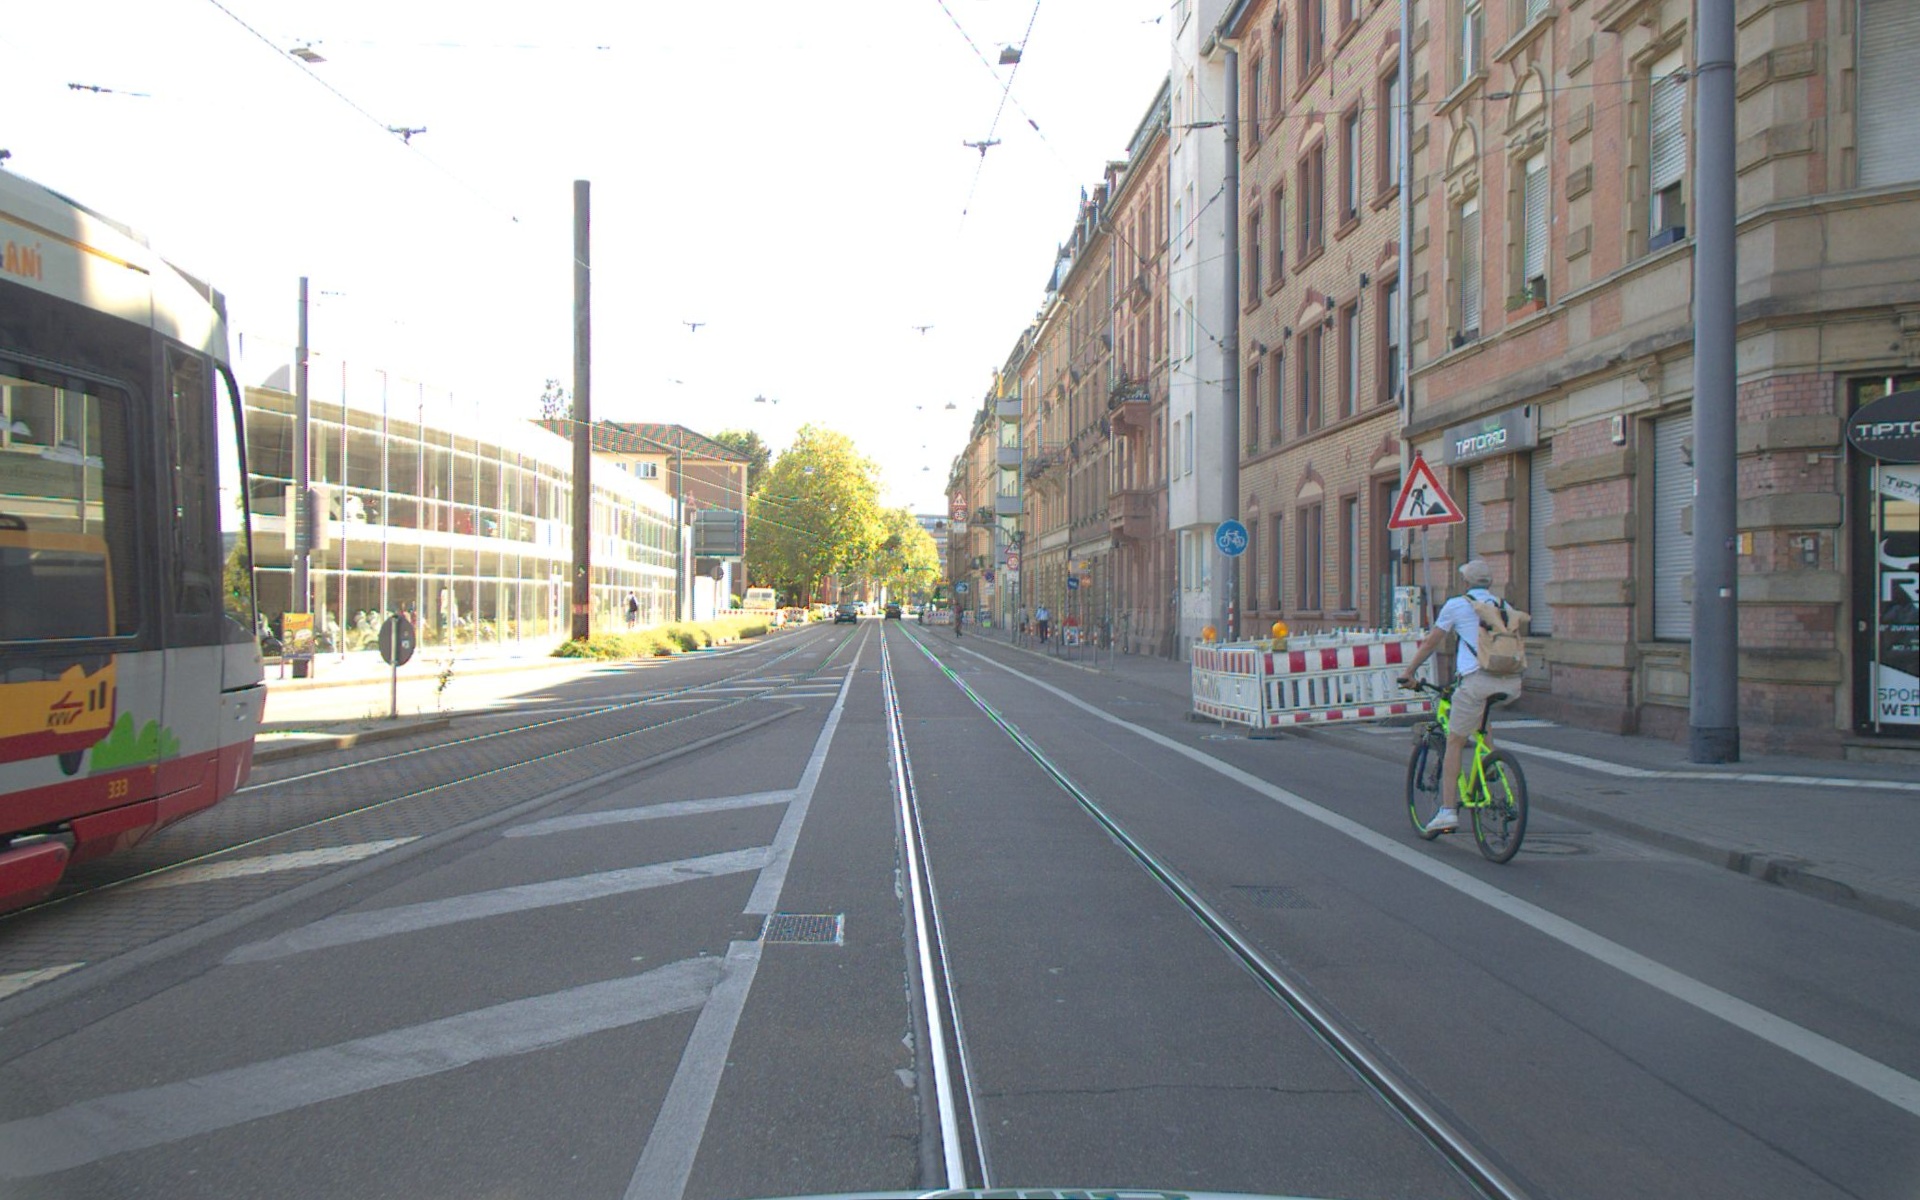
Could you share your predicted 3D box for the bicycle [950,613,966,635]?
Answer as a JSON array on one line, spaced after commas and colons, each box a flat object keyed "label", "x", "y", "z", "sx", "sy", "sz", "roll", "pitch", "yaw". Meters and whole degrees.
[{"label": "bicycle", "x": -0.137, "y": 1.246, "z": 86.946, "sx": 0.667, "sy": 1.134, "sz": 2.705, "roll": 2, "pitch": -1, "yaw": -3}]

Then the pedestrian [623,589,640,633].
[{"label": "pedestrian", "x": -13.781, "y": 0.470, "z": 69.386, "sx": 0.516, "sy": 1.795, "sz": 1.050, "roll": 2, "pitch": -1, "yaw": -3}]

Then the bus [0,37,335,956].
[{"label": "bus", "x": -5.212, "y": -0.428, "z": 4.387, "sx": 2.783, "sy": 3.652, "sz": 11.270, "roll": 1, "pitch": 0, "yaw": 0}]

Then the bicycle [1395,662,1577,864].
[{"label": "bicycle", "x": 3.384, "y": 1.006, "z": 10.811, "sx": 0.521, "sy": 1.137, "sz": 1.933, "roll": 2, "pitch": -1, "yaw": -1}]

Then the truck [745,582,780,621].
[{"label": "truck", "x": -15.257, "y": 0.130, "z": 127.973, "sx": 2.489, "sy": 2.880, "sz": 6.367, "roll": 2, "pitch": -1, "yaw": -6}]

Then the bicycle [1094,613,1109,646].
[{"label": "bicycle", "x": 4.965, "y": 1.025, "z": 58.091, "sx": 0.401, "sy": 1.141, "sz": 1.898, "roll": -1, "pitch": -1, "yaw": 1}]

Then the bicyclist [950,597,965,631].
[{"label": "bicyclist", "x": -0.123, "y": 0.744, "z": 86.630, "sx": 0.654, "sy": 1.726, "sz": 1.042, "roll": 2, "pitch": -1, "yaw": -3}]

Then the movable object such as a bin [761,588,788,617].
[{"label": "movable object such as a bin", "x": -17.788, "y": 0.239, "z": 158.806, "sx": 2.447, "sy": 2.691, "sz": 5.982, "roll": 2, "pitch": 0, "yaw": -5}]

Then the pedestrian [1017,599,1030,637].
[{"label": "pedestrian", "x": 2.922, "y": 0.827, "z": 75.624, "sx": 0.541, "sy": 1.730, "sz": 0.474, "roll": -2, "pitch": -1, "yaw": 3}]

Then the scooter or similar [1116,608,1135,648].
[{"label": "scooter or similar", "x": 5.197, "y": 0.886, "z": 51.994, "sx": 0.398, "sy": 1.232, "sz": 1.479, "roll": -1, "pitch": -1, "yaw": -2}]

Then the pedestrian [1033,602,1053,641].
[{"label": "pedestrian", "x": 3.530, "y": 0.912, "z": 70.416, "sx": 0.782, "sy": 1.633, "sz": 0.652, "roll": 0, "pitch": -1, "yaw": -1}]

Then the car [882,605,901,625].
[{"label": "car", "x": -7.445, "y": 1.651, "z": 180.533, "sx": 1.953, "sy": 2.049, "sz": 3.998, "roll": 2, "pitch": -1, "yaw": -2}]

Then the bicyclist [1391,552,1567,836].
[{"label": "bicyclist", "x": 3.323, "y": 0.583, "z": 10.677, "sx": 0.668, "sy": 1.713, "sz": 1.119, "roll": 2, "pitch": -1, "yaw": -5}]

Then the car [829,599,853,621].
[{"label": "car", "x": -9.722, "y": 0.855, "z": 135.616, "sx": 1.723, "sy": 1.726, "sz": 4.142, "roll": 2, "pitch": -1, "yaw": -2}]
